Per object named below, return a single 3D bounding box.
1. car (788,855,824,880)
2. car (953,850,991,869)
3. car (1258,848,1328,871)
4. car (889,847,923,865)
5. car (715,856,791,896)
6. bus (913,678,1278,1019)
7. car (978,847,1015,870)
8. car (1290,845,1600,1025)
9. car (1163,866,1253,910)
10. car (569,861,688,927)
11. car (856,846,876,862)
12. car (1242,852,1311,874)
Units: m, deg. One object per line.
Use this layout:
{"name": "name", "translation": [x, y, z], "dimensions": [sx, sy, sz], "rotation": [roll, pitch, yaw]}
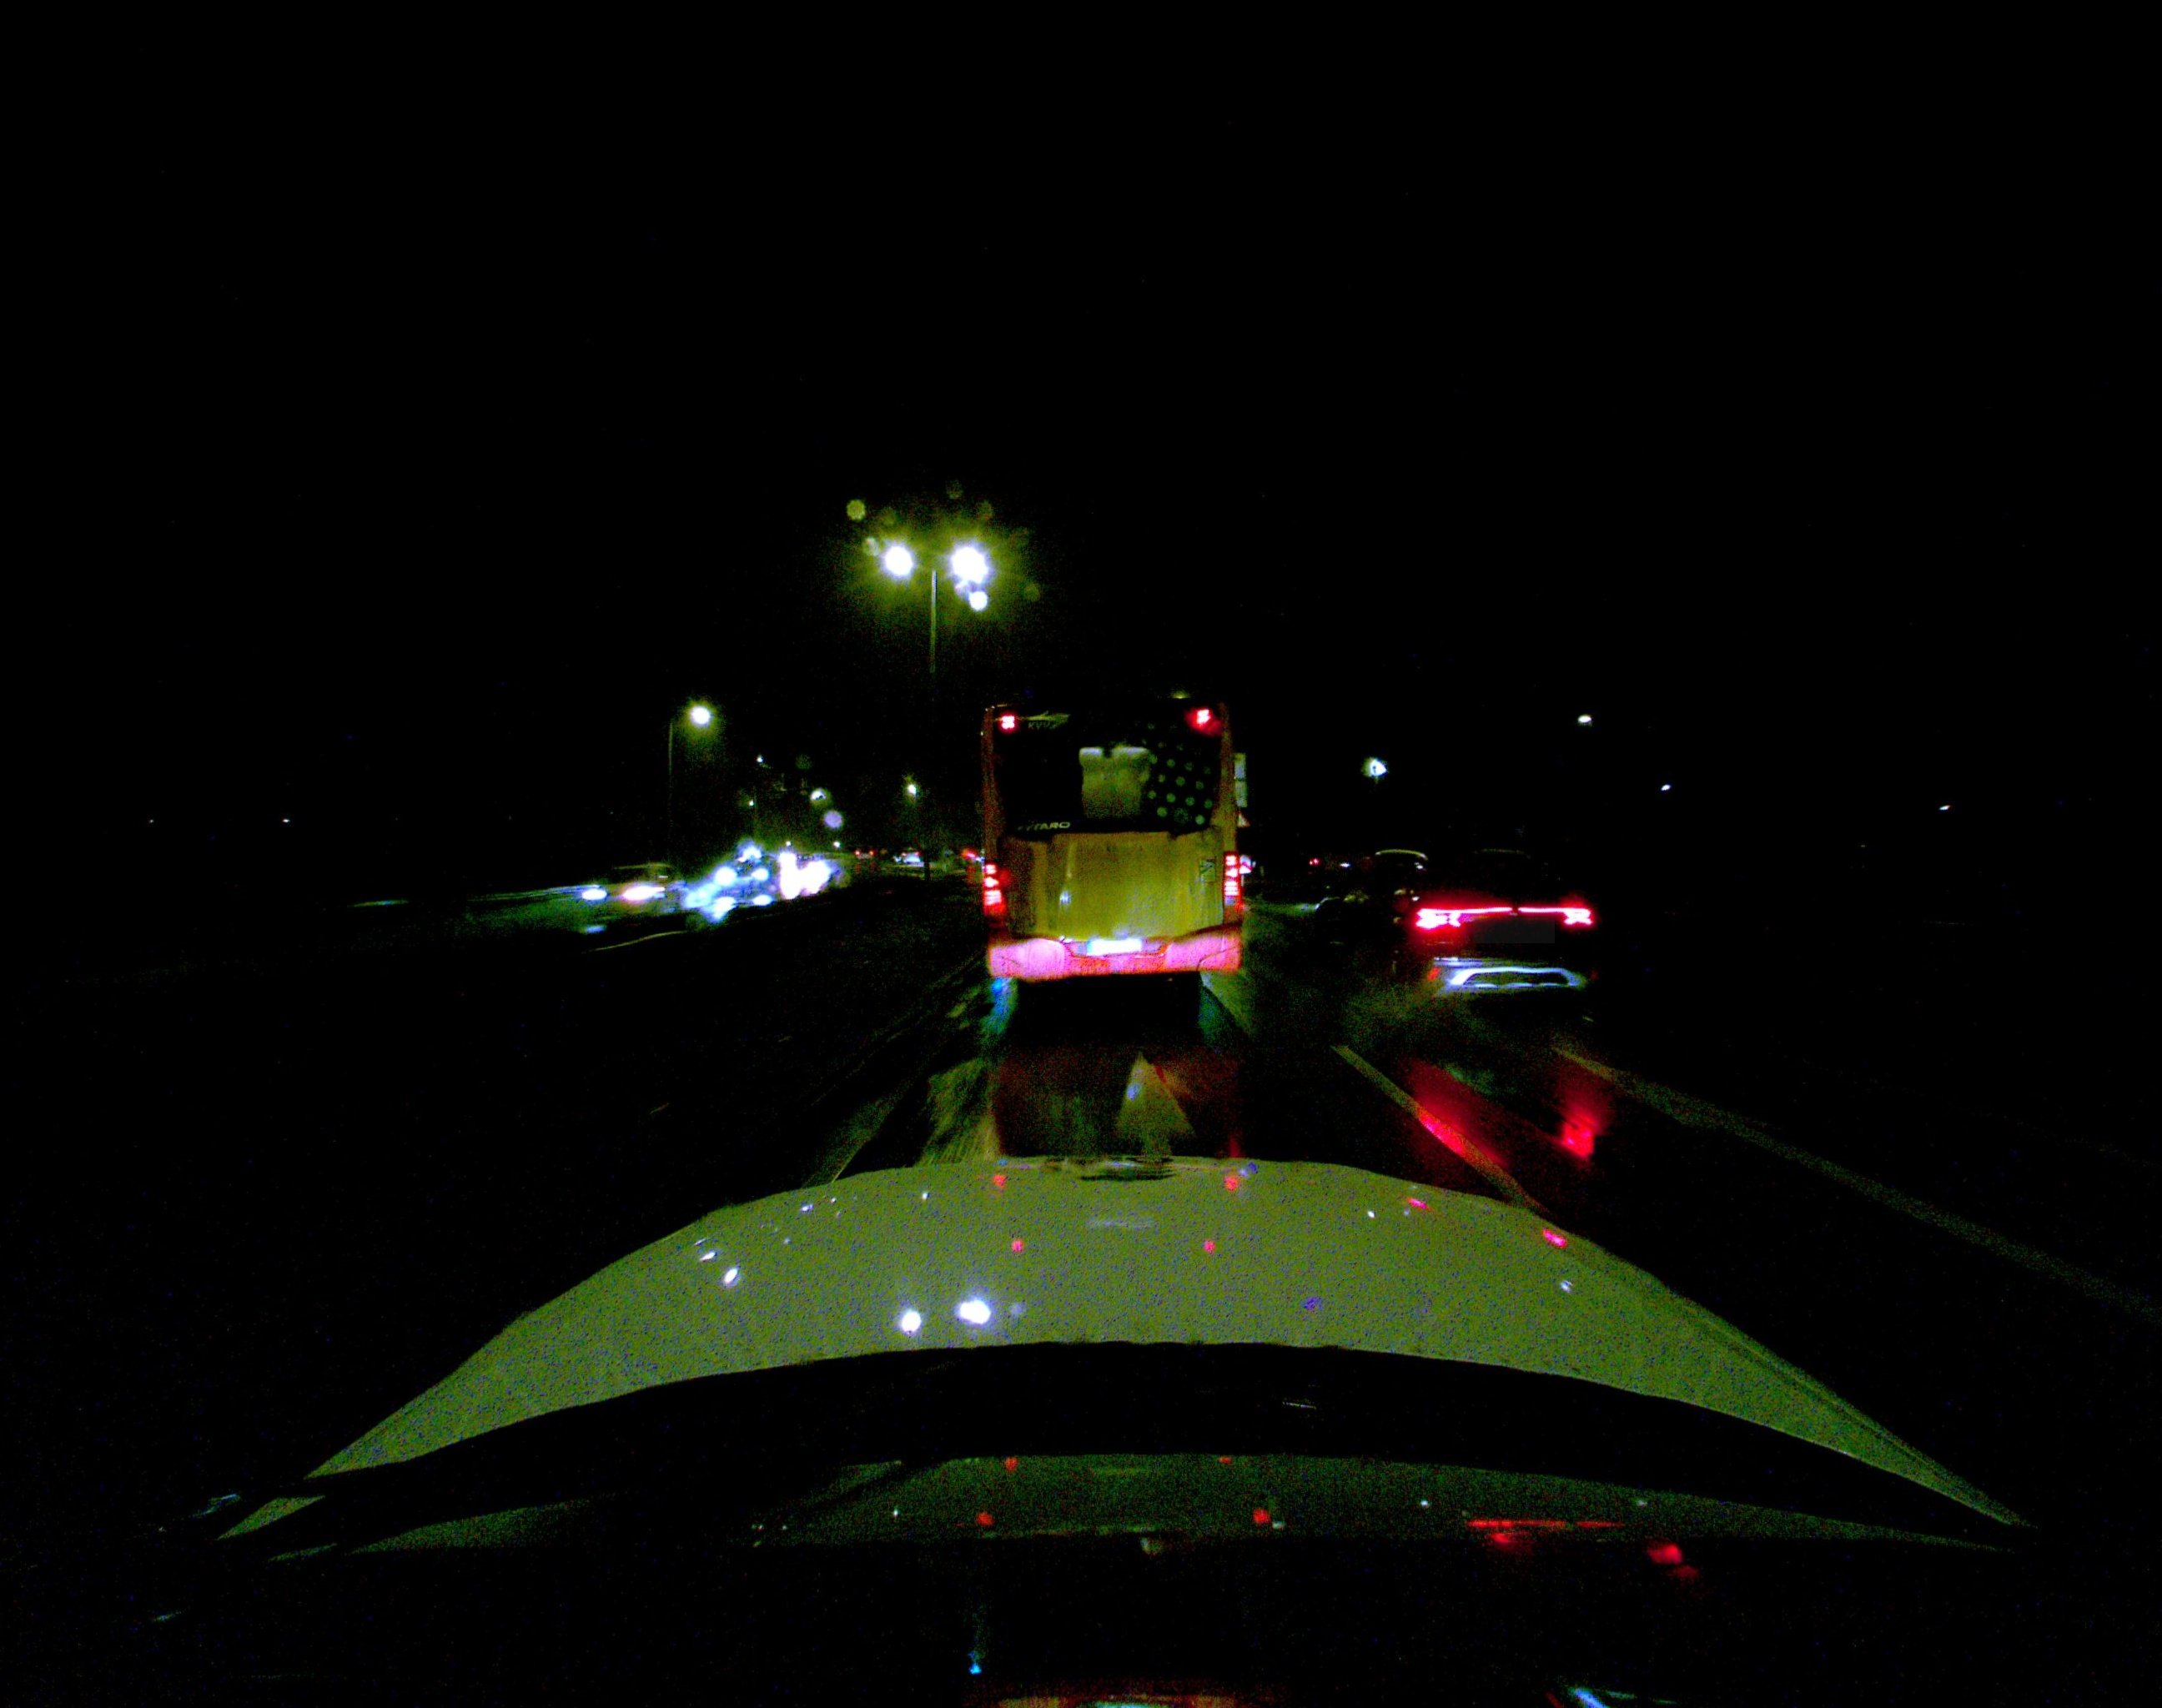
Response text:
{"name": "car", "translation": [-18.108, 0.883, 53.784], "dimensions": [1.736, 1.495, 3.924], "rotation": [-3, 0, -12]}
{"name": "car", "translation": [-9.352, 0.491, 69.754], "dimensions": [1.828, 1.618, 3.960], "rotation": [1, -1, -31]}
{"name": "car", "translation": [14.864, 0.392, 57.217], "dimensions": [4.474, 1.519, 1.854], "rotation": [0, 1, -5]}
{"name": "car", "translation": [-16.614, 0.173, 77.283], "dimensions": [2.102, 1.643, 3.694], "rotation": [1, -1, -29]}
{"name": "car", "translation": [-14.392, 0.929, 35.975], "dimensions": [1.771, 1.593, 4.552], "rotation": [-2, 0, -5]}
{"name": "bus", "translation": [0.014, -0.133, 12.223], "dimensions": [3.276, 3.050, 9.537], "rotation": [-1, 1, -2]}
{"name": "car", "translation": [-6.072, 0.327, 58.418], "dimensions": [1.821, 1.618, 3.974], "rotation": [0, -1, -19]}
{"name": "car", "translation": [3.599, 0.714, 8.896], "dimensions": [1.671, 1.521, 3.960], "rotation": [0, -1, 1]}
{"name": "car", "translation": [4.135, 1.078, 27.181], "dimensions": [1.687, 1.330, 3.944], "rotation": [-1, -1, -11]}
{"name": "car", "translation": [-12.459, 1.038, 22.683], "dimensions": [1.849, 1.571, 3.495], "rotation": [-1, 1, -11]}
{"name": "car", "translation": [-24.266, -0.027, 91.711], "dimensions": [1.999, 1.721, 3.975], "rotation": [0, -1, -18]}
{"name": "car", "translation": [12.697, 0.564, 53.036], "dimensions": [4.035, 1.345, 1.745], "rotation": [0, 1, -5]}
